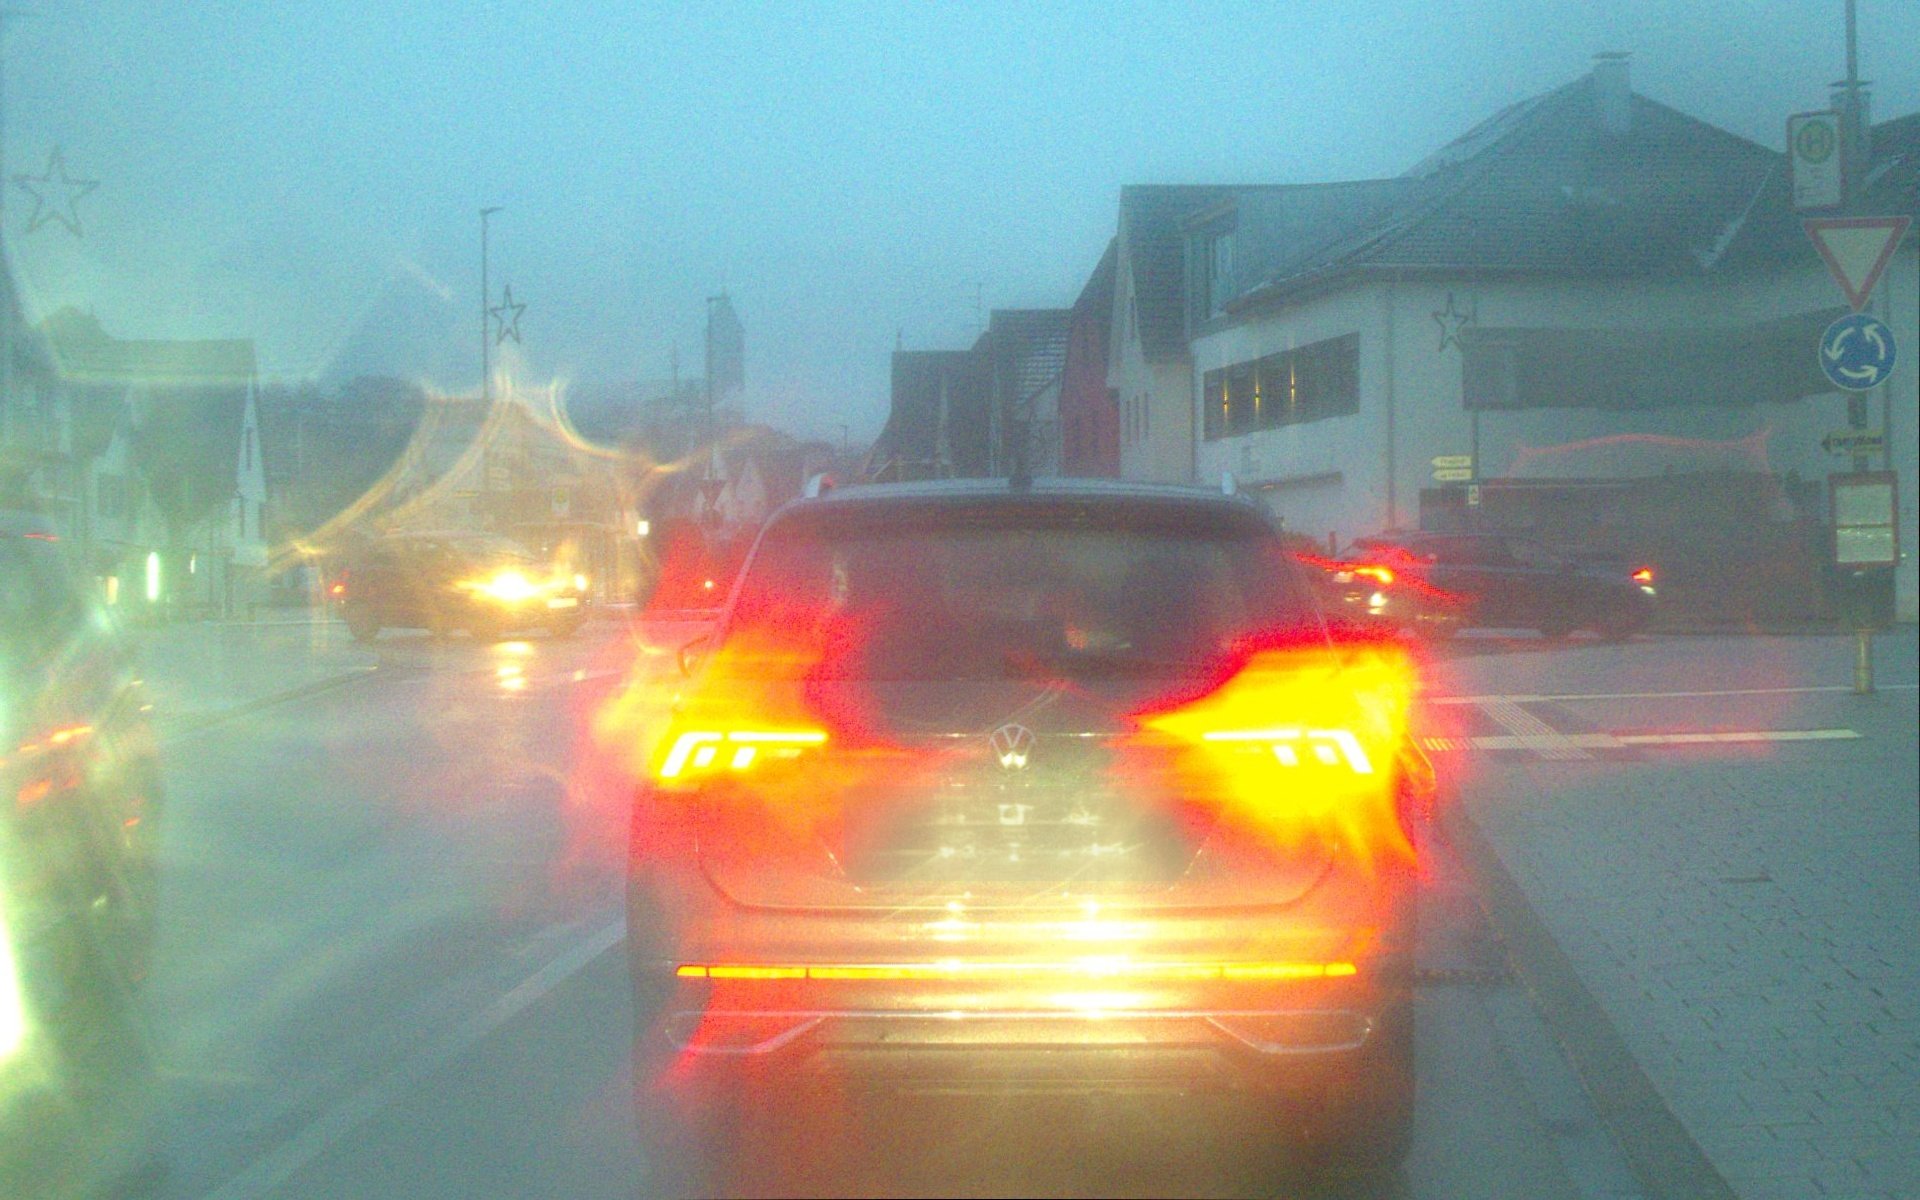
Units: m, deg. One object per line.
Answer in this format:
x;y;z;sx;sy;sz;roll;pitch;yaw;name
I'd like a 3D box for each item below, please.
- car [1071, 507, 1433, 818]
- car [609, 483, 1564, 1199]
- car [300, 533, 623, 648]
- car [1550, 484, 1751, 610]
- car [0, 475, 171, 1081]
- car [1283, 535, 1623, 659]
1.438;0.249;18.211;1.682;1.448;4.000;1;1;2;car
0.324;0.518;9.310;1.964;1.589;4.313;1;1;2;car
-6.826;-0.131;47.009;3.994;1.413;1.997;0;3;32;car
12.094;-0.920;60.510;2.157;1.984;4.500;-4;1;-5;car
-3.493;0.494;9.508;1.737;1.647;4.000;-1;1;-1;car
6.563;-0.014;45.858;3.986;1.474;2.000;2;-1;-20;car
